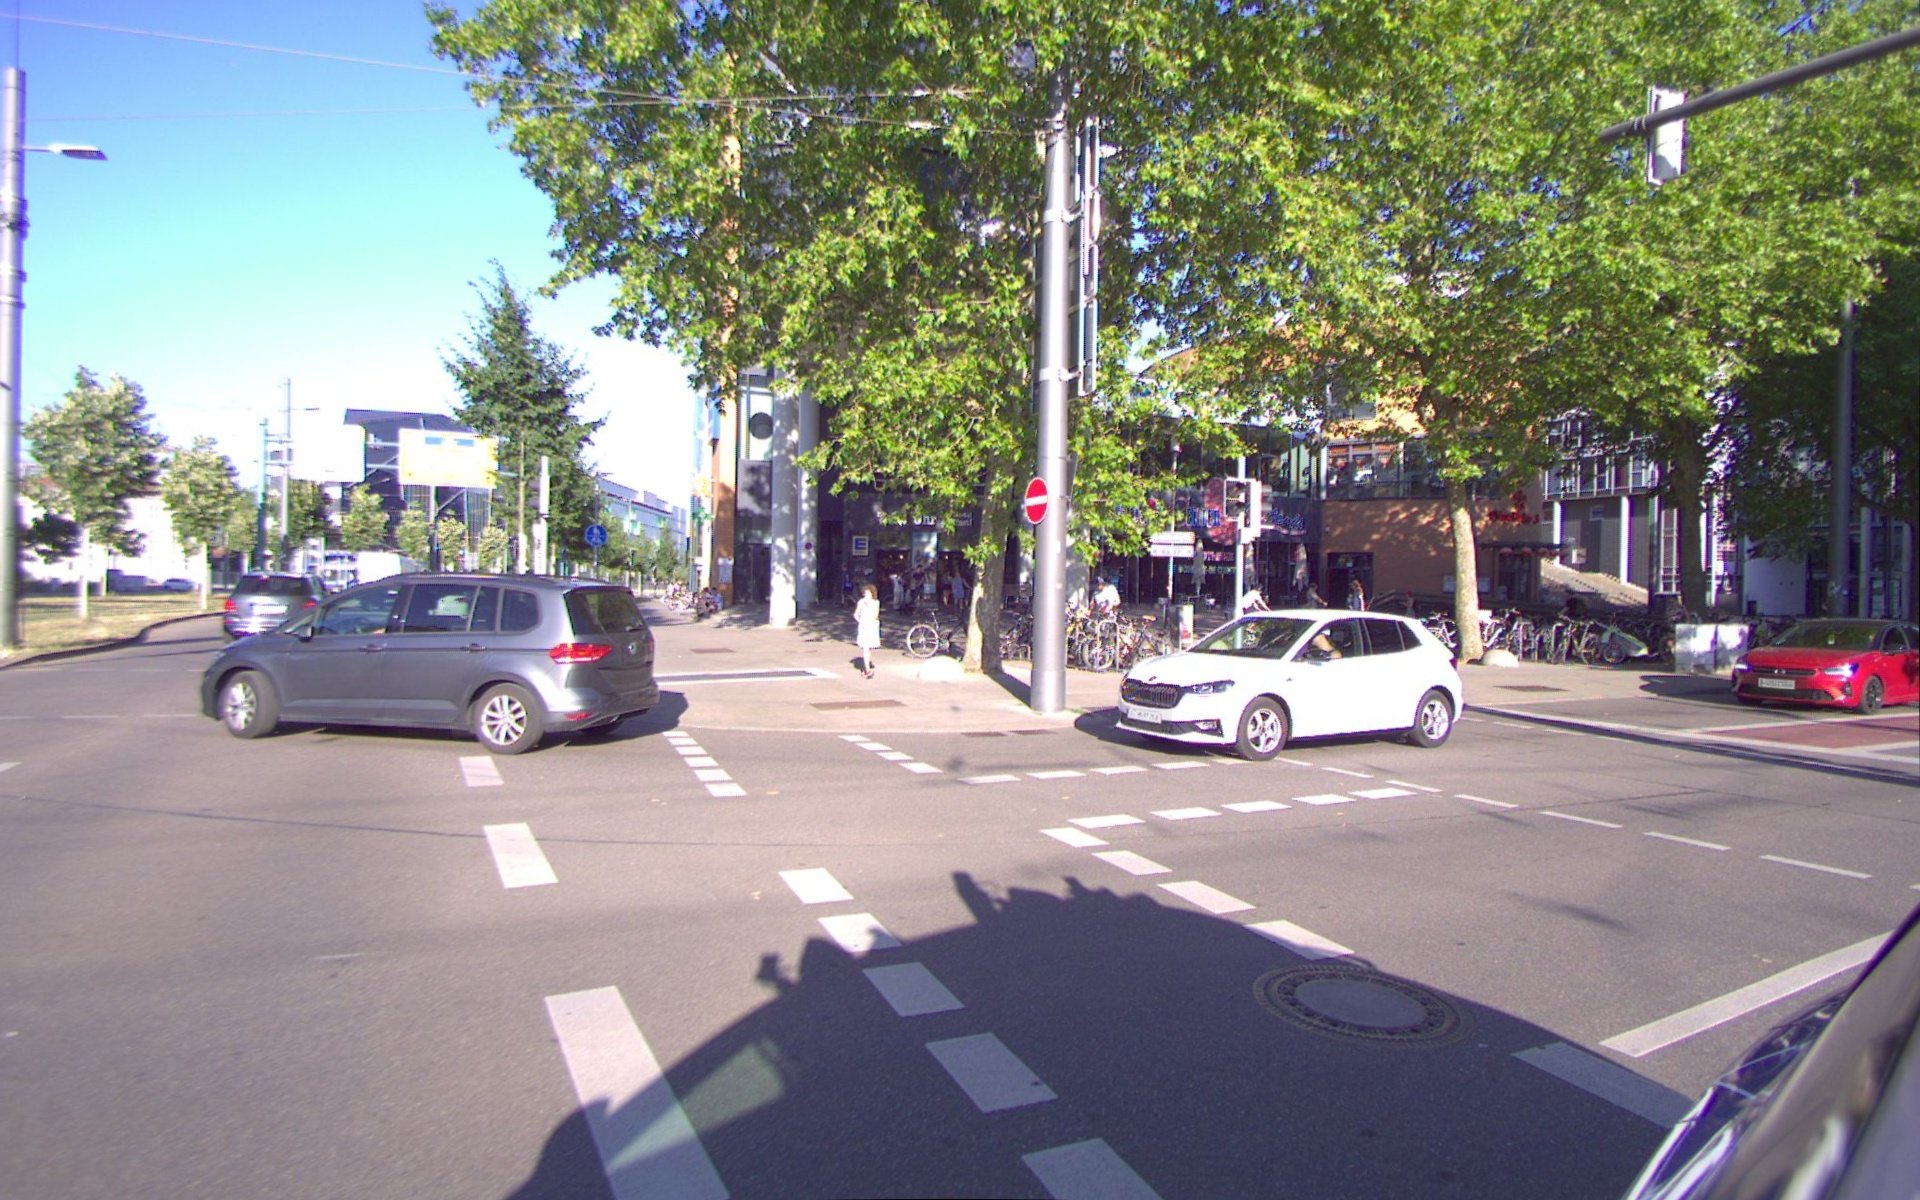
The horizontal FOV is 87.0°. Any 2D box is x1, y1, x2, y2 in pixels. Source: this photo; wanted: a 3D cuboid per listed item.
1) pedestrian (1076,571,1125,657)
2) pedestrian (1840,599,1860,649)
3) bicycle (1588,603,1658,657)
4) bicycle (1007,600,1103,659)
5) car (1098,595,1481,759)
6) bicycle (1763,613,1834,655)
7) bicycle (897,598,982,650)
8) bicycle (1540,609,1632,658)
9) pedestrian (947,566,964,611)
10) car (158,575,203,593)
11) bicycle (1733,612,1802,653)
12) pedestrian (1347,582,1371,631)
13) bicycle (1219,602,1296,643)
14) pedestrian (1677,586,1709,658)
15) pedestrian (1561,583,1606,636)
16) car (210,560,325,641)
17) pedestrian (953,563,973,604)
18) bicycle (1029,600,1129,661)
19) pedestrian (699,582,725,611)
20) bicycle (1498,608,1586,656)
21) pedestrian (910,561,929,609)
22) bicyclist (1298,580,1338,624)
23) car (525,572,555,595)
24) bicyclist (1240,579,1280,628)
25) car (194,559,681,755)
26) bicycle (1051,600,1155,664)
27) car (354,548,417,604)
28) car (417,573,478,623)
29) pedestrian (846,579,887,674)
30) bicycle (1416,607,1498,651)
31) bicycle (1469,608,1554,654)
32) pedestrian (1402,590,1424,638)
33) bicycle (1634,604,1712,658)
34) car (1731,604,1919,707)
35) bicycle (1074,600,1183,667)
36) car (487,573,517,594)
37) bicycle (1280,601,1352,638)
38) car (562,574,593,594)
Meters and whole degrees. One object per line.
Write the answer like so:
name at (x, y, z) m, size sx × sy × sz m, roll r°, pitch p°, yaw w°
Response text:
pedestrian at (2.991, 0.291, 21.488) m, size 0.882 × 1.787 × 0.726 m, roll 1°, pitch -1°, yaw 19°
pedestrian at (28.417, 0.768, 32.305) m, size 0.408 × 1.574 × 0.441 m, roll 2°, pitch 1°, yaw 38°
bicycle at (16.512, 0.708, 25.297) m, size 0.774 × 1.204 × 3.531 m, roll 1°, pitch 1°, yaw 22°
bicycle at (1.942, 0.585, 20.668) m, size 1.805 × 1.143 × 0.777 m, roll 1°, pitch 1°, yaw -26°
car at (3.573, 0.725, 10.860) m, size 3.918 × 1.470 × 1.638 m, roll 1°, pitch 0°, yaw -28°
bicycle at (22.387, 0.897, 27.028) m, size 1.906 × 1.077 × 0.580 m, roll 1°, pitch 0°, yaw -21°
bicycle at (-0.430, 0.513, 21.216) m, size 1.663 × 1.049 × 0.550 m, roll 1°, pitch 0°, yaw -22°
bicycle at (14.430, 0.768, 23.318) m, size 1.906 × 1.077 × 0.785 m, roll 1°, pitch 0°, yaw -21°
pedestrian at (-0.180, -0.438, 38.661) m, size 0.583 × 1.677 × 0.593 m, roll 1°, pitch 0°, yaw -4°
car at (-86.885, -1.800, 112.816) m, size 3.930 × 1.883 × 1.997 m, roll 1°, pitch 1°, yaw -41°
bicycle at (22.198, 0.894, 27.801) m, size 1.906 × 1.077 × 0.580 m, roll 1°, pitch 0°, yaw -21°
pedestrian at (14.259, 0.226, 36.132) m, size 0.559 × 1.690 × 0.544 m, roll 1°, pitch 0°, yaw -7°
bicycle at (8.460, 0.635, 28.829) m, size 1.979 × 1.081 × 0.695 m, roll 1°, pitch 1°, yaw 5°
pedestrian at (17.523, 0.520, 24.190) m, size 0.568 × 1.690 × 0.536 m, roll 2°, pitch 1°, yaw 38°
pedestrian at (18.523, 0.279, 30.083) m, size 0.857 × 1.561 × 0.767 m, roll 1°, pitch 1°, yaw -27°
car at (-15.729, -0.009, 23.188) m, size 1.828 × 1.653 × 4.267 m, roll 1°, pitch 0°, yaw -30°
pedestrian at (0.122, -0.678, 41.439) m, size 0.558 × 1.677 × 0.585 m, roll 2°, pitch 1°, yaw 34°
bicycle at (2.344, 0.591, 19.925) m, size 1.805 × 1.143 × 0.777 m, roll 1°, pitch 1°, yaw -26°
pedestrian at (-9.592, -0.141, 39.092) m, size 0.762 × 1.094 × 0.682 m, roll 1°, pitch 1°, yaw -33°
bicycle at (13.901, 0.760, 24.181) m, size 1.906 × 1.077 × 0.785 m, roll 1°, pitch 0°, yaw -21°
pedestrian at (-1.541, -0.571, 38.641) m, size 0.583 × 1.777 × 0.594 m, roll 1°, pitch 0°, yaw 9°
bicyclist at (11.083, 0.051, 31.321) m, size 0.939 × 1.316 × 0.676 m, roll 1°, pitch 0°, yaw -7°
car at (-39.447, -1.552, 95.182) m, size 1.579 × 2.039 × 3.892 m, roll 1°, pitch 1°, yaw -7°
bicyclist at (8.545, 0.094, 28.824) m, size 0.942 × 1.361 × 0.674 m, roll 1°, pitch 0°, yaw 6°
car at (-5.048, 0.487, 10.001) m, size 4.107 × 1.623 × 1.614 m, roll 2°, pitch 0°, yaw 9°
bicycle at (2.708, 0.596, 19.145) m, size 1.805 × 1.143 × 0.777 m, roll 1°, pitch 1°, yaw -26°
car at (-27.827, -1.096, 49.162) m, size 1.958 × 2.512 × 5.985 m, roll 1°, pitch 0°, yaw -23°
car at (-18.267, -0.078, 36.091) m, size 1.827 × 1.653 × 4.270 m, roll 1°, pitch 0°, yaw -27°
pedestrian at (-1.568, 0.434, 17.010) m, size 0.563 × 1.557 × 0.483 m, roll 1°, pitch 0°, yaw 9°
bicycle at (12.738, 0.742, 25.936) m, size 1.906 × 1.077 × 0.785 m, roll 1°, pitch 0°, yaw -21°
bicycle at (13.604, 0.756, 24.972) m, size 1.906 × 1.077 × 0.785 m, roll 1°, pitch 0°, yaw -21°
pedestrian at (16.352, 0.499, 36.525) m, size 0.534 × 1.690 × 0.569 m, roll 1°, pitch 0°, yaw 8°
bicycle at (17.667, 0.727, 25.174) m, size 0.774 × 1.204 × 3.531 m, roll 1°, pitch 1°, yaw 22°
car at (14.365, 0.832, 16.142) m, size 3.917 × 1.446 × 1.695 m, roll 1°, pitch 0°, yaw -26°
bicycle at (3.059, 0.601, 18.353) m, size 1.805 × 1.143 × 0.777 m, roll 1°, pitch 1°, yaw -26°
car at (-37.018, -1.334, 81.869) m, size 1.637 × 1.660 × 4.009 m, roll 1°, pitch 1°, yaw -16°
bicycle at (10.998, 0.602, 31.316) m, size 1.974 × 1.081 × 0.697 m, roll 1°, pitch 1°, yaw -7°
car at (-32.155, -1.354, 85.127) m, size 1.756 × 1.614 × 4.007 m, roll 1°, pitch 1°, yaw -10°
